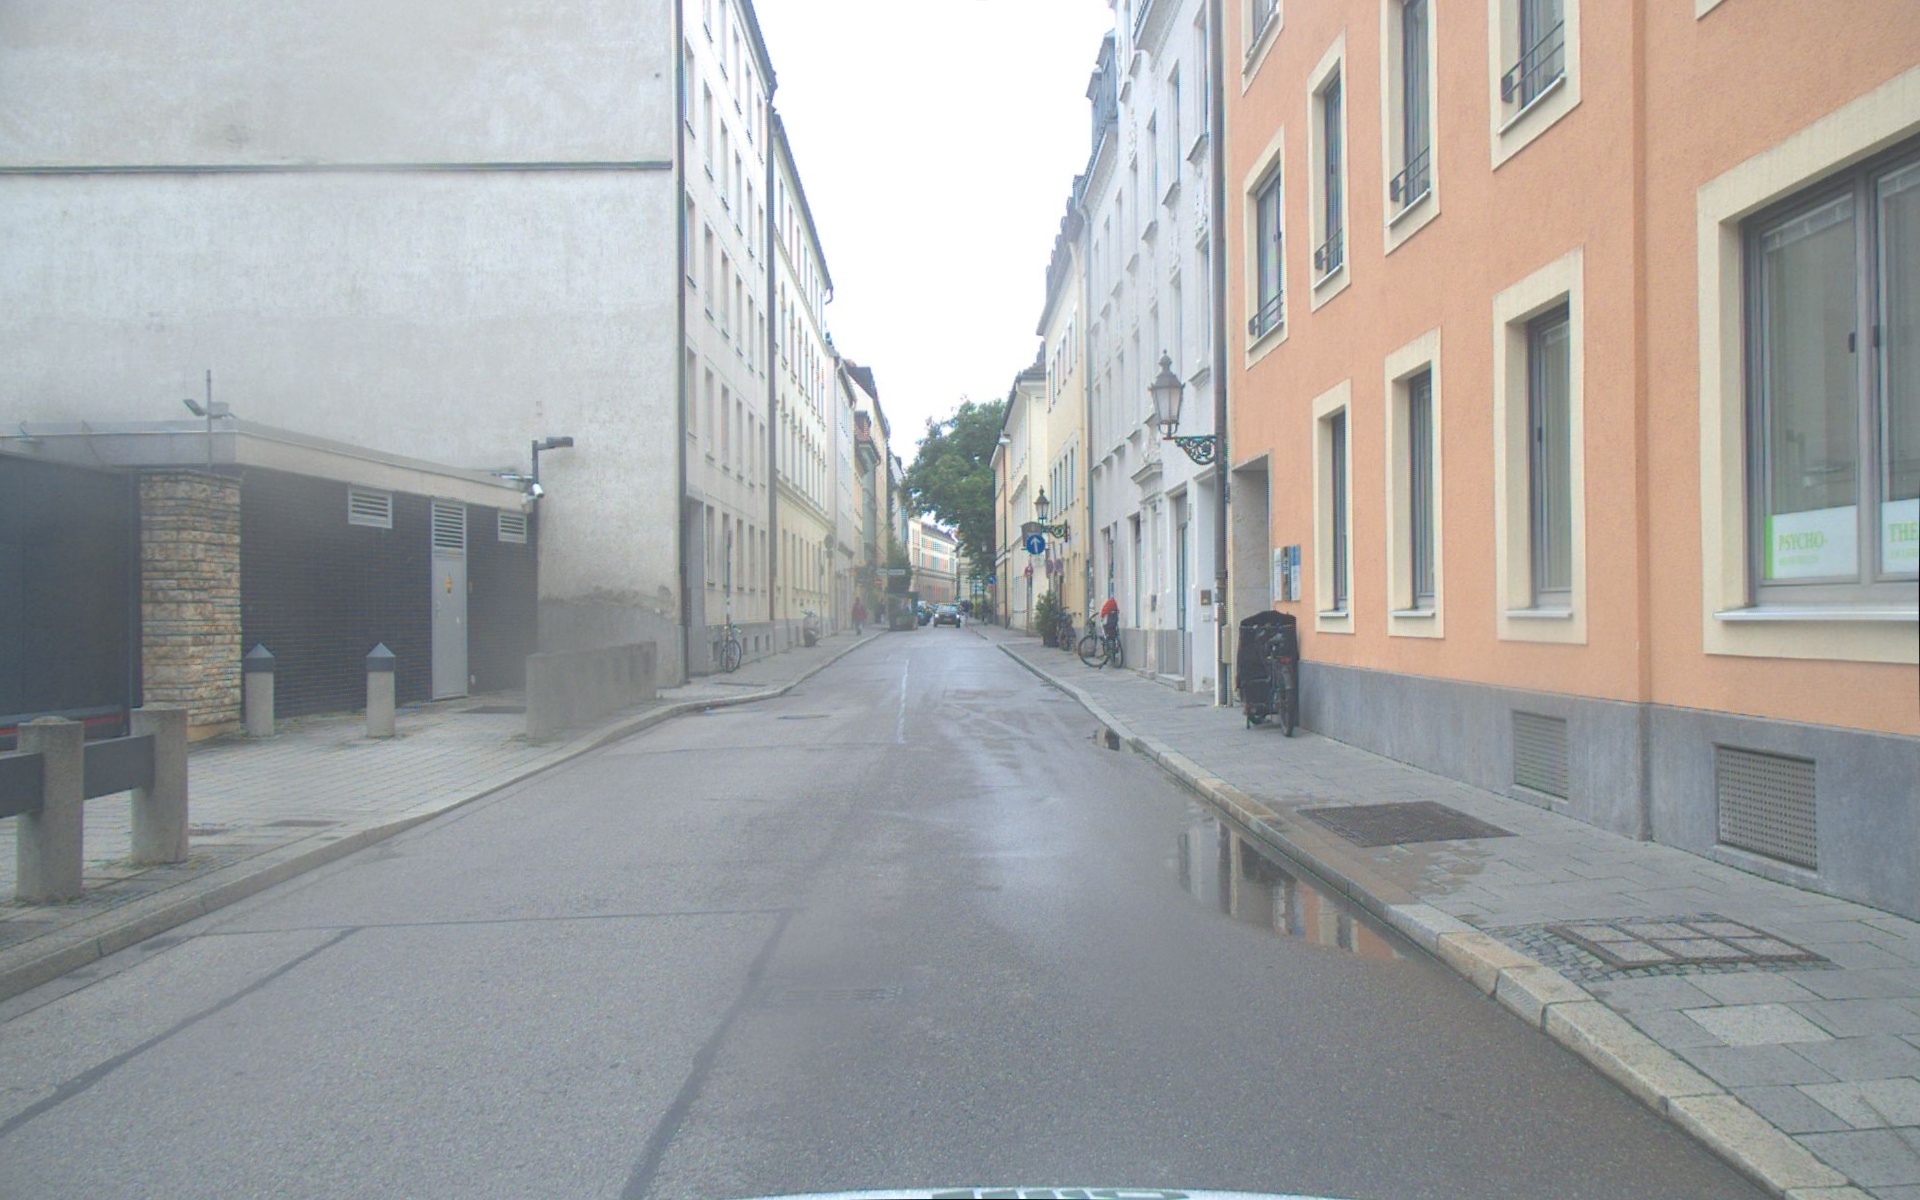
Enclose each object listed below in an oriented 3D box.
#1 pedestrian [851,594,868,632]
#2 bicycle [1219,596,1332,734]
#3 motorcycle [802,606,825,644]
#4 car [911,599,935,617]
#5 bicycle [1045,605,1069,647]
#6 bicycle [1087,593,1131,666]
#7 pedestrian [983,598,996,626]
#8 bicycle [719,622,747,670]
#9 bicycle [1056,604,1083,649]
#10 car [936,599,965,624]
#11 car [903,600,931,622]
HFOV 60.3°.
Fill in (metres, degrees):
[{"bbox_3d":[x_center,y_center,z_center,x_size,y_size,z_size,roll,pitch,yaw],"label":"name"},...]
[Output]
[{"bbox_3d":[-4.597,0.602,75.928,0.750,1.738,0.785,-1,0,-3],"label":"pedestrian"},{"bbox_3d":[3.271,0.632,17.341,0.665,1.261,2.382,-5,0,1],"label":"bicycle"},{"bbox_3d":[-4.714,0.804,53.319,0.590,1.194,1.708,0,0,0],"label":"motorcycle"},{"bbox_3d":[-3.066,0.650,136.713,1.742,1.492,3.543,0,0,2],"label":"car"},{"bbox_3d":[2.782,0.736,47.583,0.554,1.156,1.684,-3,0,0],"label":"bicycle"},{"bbox_3d":[3.075,0.580,34.282,0.698,1.420,2.122,-3,0,2],"label":"bicycle"},{"bbox_3d":[1.972,0.790,110.011,0.862,1.833,1.046,0,0,0],"label":"pedestrian"},{"bbox_3d":[-4.815,0.963,35.103,0.313,0.960,1.574,2,0,1],"label":"bicycle"},{"bbox_3d":[2.992,0.706,45.367,0.554,1.156,1.987,-3,0,0],"label":"bicycle"},{"bbox_3d":[-0.630,0.753,109.417,1.776,1.621,3.999,-1,0,-2],"label":"car"},{"bbox_3d":[-2.993,0.763,116.627,1.742,1.492,3.663,0,0,2],"label":"car"}]
